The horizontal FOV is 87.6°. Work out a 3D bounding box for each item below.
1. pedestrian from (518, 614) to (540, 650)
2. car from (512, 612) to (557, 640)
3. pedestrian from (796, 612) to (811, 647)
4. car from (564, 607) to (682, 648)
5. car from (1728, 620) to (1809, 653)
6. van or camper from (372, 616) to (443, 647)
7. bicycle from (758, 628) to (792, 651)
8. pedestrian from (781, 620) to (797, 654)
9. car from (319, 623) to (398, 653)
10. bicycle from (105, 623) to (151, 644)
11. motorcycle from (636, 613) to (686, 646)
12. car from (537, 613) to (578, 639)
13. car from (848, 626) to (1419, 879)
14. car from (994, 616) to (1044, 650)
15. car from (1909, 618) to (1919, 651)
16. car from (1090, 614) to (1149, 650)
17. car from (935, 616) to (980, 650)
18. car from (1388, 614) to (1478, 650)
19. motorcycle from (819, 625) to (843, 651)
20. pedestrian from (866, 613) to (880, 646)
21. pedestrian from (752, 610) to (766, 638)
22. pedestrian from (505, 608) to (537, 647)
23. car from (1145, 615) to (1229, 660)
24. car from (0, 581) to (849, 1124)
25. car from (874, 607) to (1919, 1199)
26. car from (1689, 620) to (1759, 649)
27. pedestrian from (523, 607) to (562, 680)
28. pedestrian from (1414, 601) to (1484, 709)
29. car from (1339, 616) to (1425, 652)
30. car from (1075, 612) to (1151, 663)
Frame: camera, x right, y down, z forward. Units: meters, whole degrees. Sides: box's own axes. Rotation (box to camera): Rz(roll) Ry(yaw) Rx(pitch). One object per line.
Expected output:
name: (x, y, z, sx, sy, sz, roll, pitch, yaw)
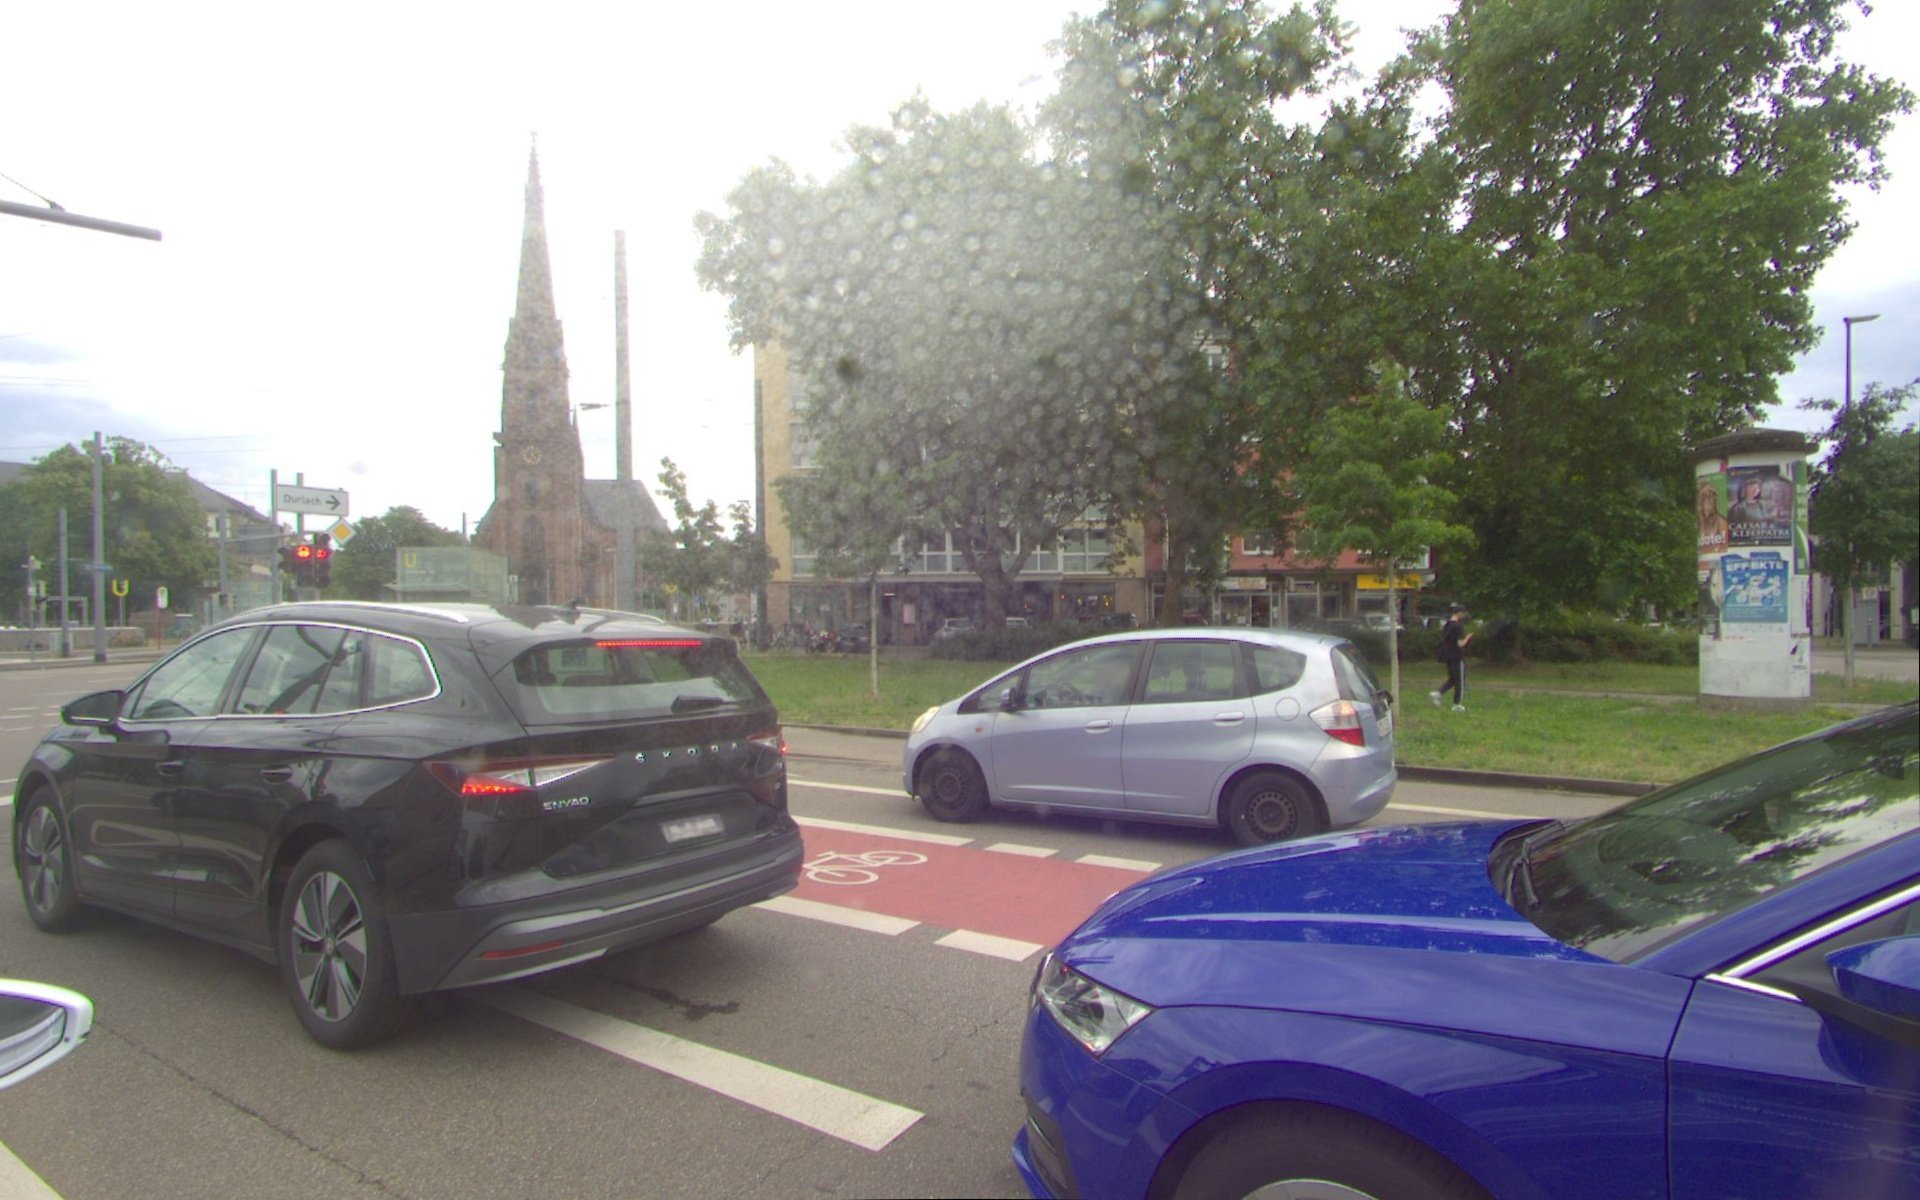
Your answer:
pedestrian: (-19.934, 1.473, 46.296, 0.625, 1.659, 0.872, 0, 0, -1)
car: (-32.479, 1.968, 76.497, 1.961, 2.040, 4.000, 0, -1, -5)
pedestrian: (-7.657, 1.440, 49.081, 0.625, 1.659, 0.872, 0, 0, 0)
car: (-18.105, 1.475, 53.946, 5.674, 2.039, 2.011, -1, -1, -40)
car: (43.520, 1.945, 54.028, 1.828, 1.644, 4.469, -2, -1, 17)
van or camper: (-33.030, 1.885, 60.006, 1.961, 1.764, 4.305, -2, -1, -3)
bicycle: (-7.456, 1.592, 40.461, 1.240, 0.929, 0.595, 0, 0, 2)
pedestrian: (-8.640, 1.860, 50.610, 0.625, 1.659, 0.872, 0, 0, -1)
car: (-32.265, 2.020, 53.871, 1.740, 1.483, 4.001, -2, -1, 1)
bicycle: (-55.442, 2.223, 66.742, 0.699, 1.348, 2.252, -2, -1, 39)
motorcycle: (-11.122, 1.085, 37.338, 0.753, 1.183, 2.385, 0, -1, 12)
car: (-32.568, 2.047, 81.049, 1.961, 2.040, 4.000, 0, -1, -5)
car: (1.260, 0.957, 7.795, 4.039, 1.486, 1.746, -1, -1, 32)
car: (2.661, 1.500, 46.204, 1.825, 1.509, 4.476, 0, -1, -3)
car: (46.498, 1.594, 46.352, 1.865, 1.568, 4.469, -2, -1, 17)
car: (7.374, 1.456, 46.701, 1.825, 1.568, 4.476, 0, -1, -3)
car: (-0.156, 1.490, 46.157, 1.825, 1.509, 4.476, 0, -1, -3)
car: (21.968, 1.468, 46.688, 1.825, 1.568, 4.476, 0, -1, -5)
motorcycle: (-5.082, 1.477, 39.458, 0.858, 1.010, 1.014, 0, -1, -13)
pedestrian: (-4.324, 1.468, 50.051, 0.625, 1.659, 0.872, 0, 0, 0)
pedestrian: (-11.867, 1.436, 59.123, 0.771, 1.659, 0.637, 0, 0, -4)
pedestrian: (-21.040, 1.309, 48.009, 1.066, 1.820, 0.947, -1, -1, -2)
car: (8.228, 1.337, 36.680, 1.825, 1.568, 4.476, 0, -1, -3)
car: (-2.847, 0.793, 4.906, 4.444, 1.617, 1.774, -1, -1, 31)
car: (2.147, 0.761, 1.690, 4.402, 1.508, 1.776, -1, -1, 32)
car: (45.356, 2.022, 59.566, 1.828, 1.644, 4.469, -2, -1, 17)
pedestrian: (-11.397, 1.179, 27.361, 0.874, 1.956, 1.016, 0, 0, -16)
pedestrian: (8.578, 0.949, 17.584, 0.968, 1.868, 0.536, 0, 0, -11)
car: (19.502, 1.532, 46.453, 1.825, 1.568, 4.476, 0, -1, -5)
car: (5.493, 1.320, 36.481, 1.825, 1.745, 4.476, 0, -1, -3)
